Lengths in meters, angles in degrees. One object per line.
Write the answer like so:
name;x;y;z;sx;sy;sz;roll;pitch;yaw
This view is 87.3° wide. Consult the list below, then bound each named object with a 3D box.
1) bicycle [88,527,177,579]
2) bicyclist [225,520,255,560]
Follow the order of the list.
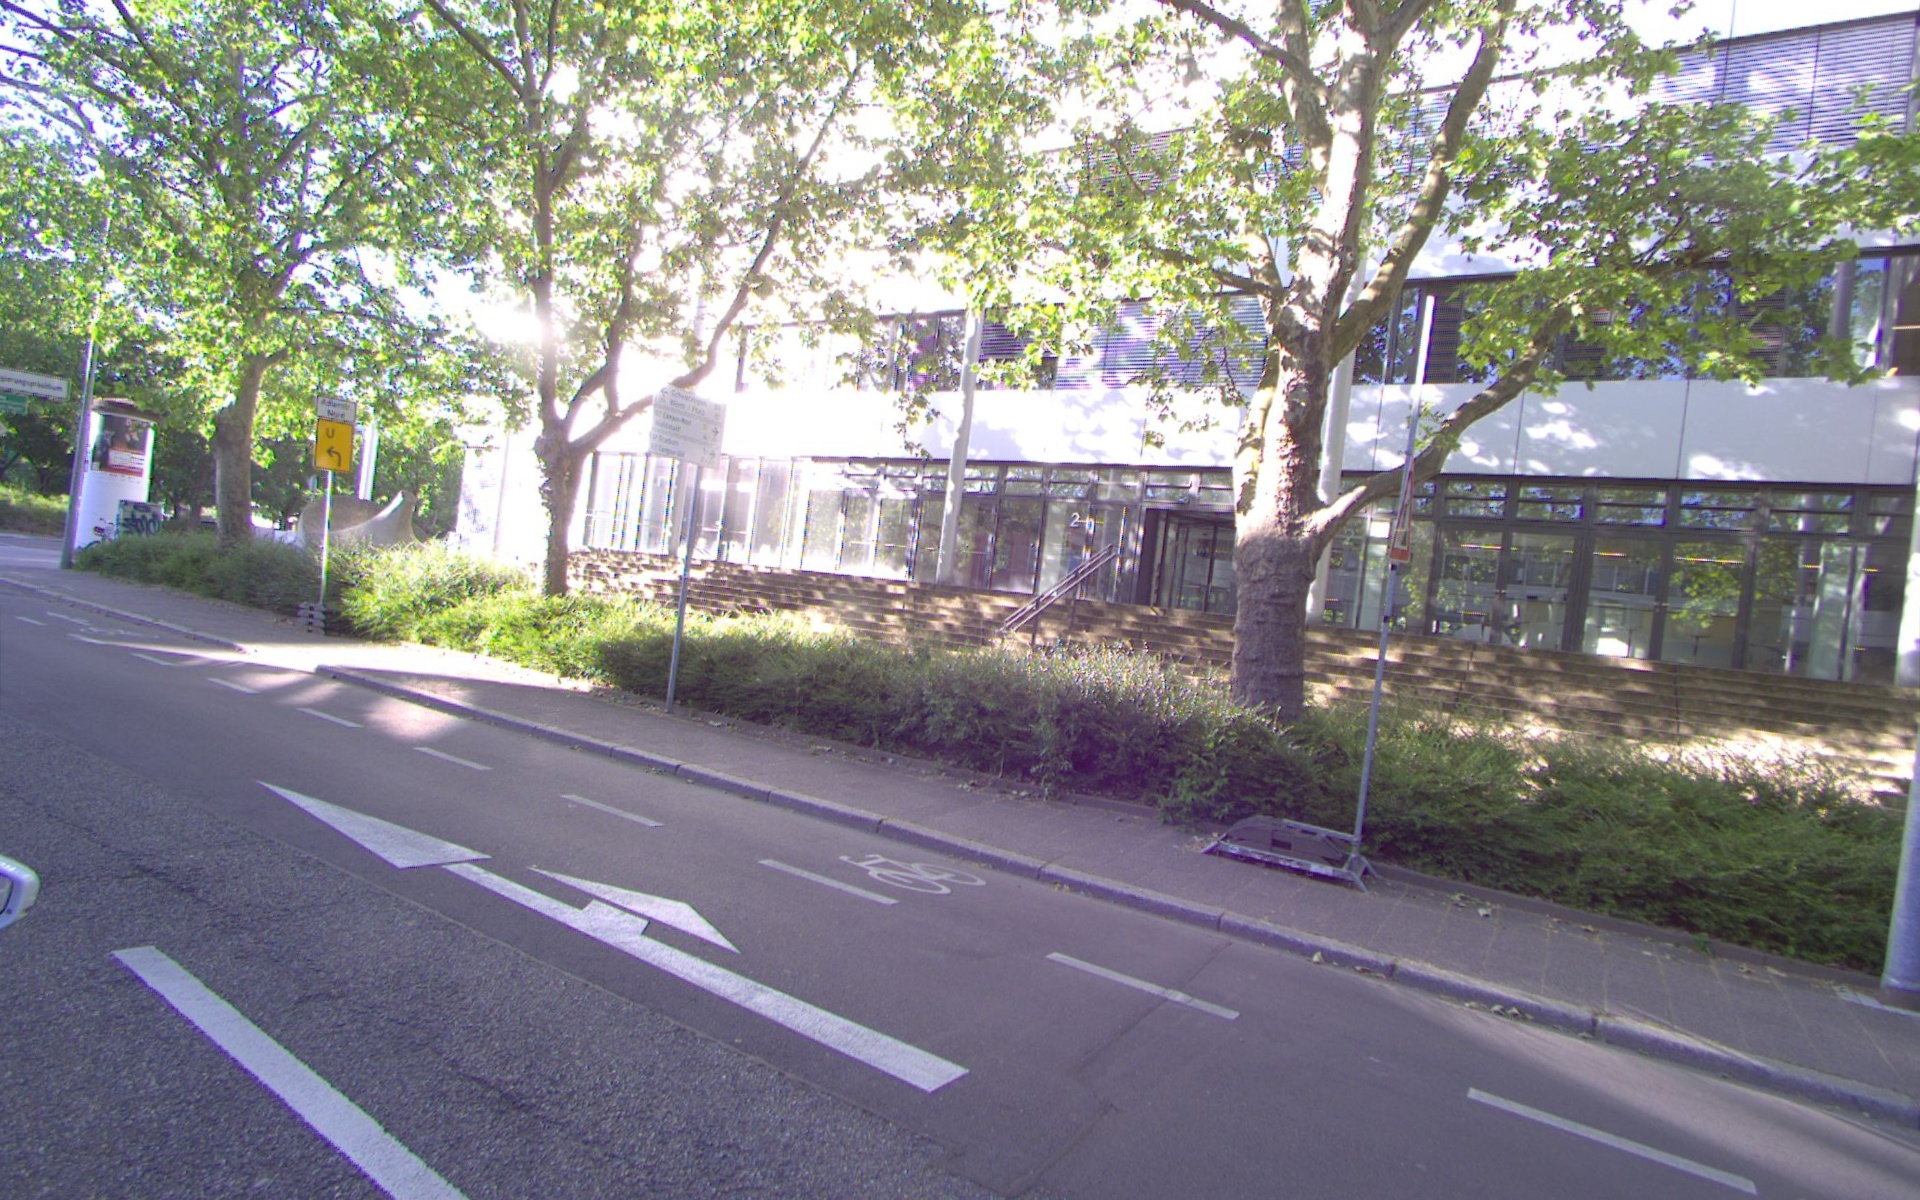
bicycle;-19.045;-1.069;23.181;0.295;0.991;1.484;6;-2;37
bicyclist;-30.936;-2.572;43.233;0.588;1.600;0.730;6;-1;38
